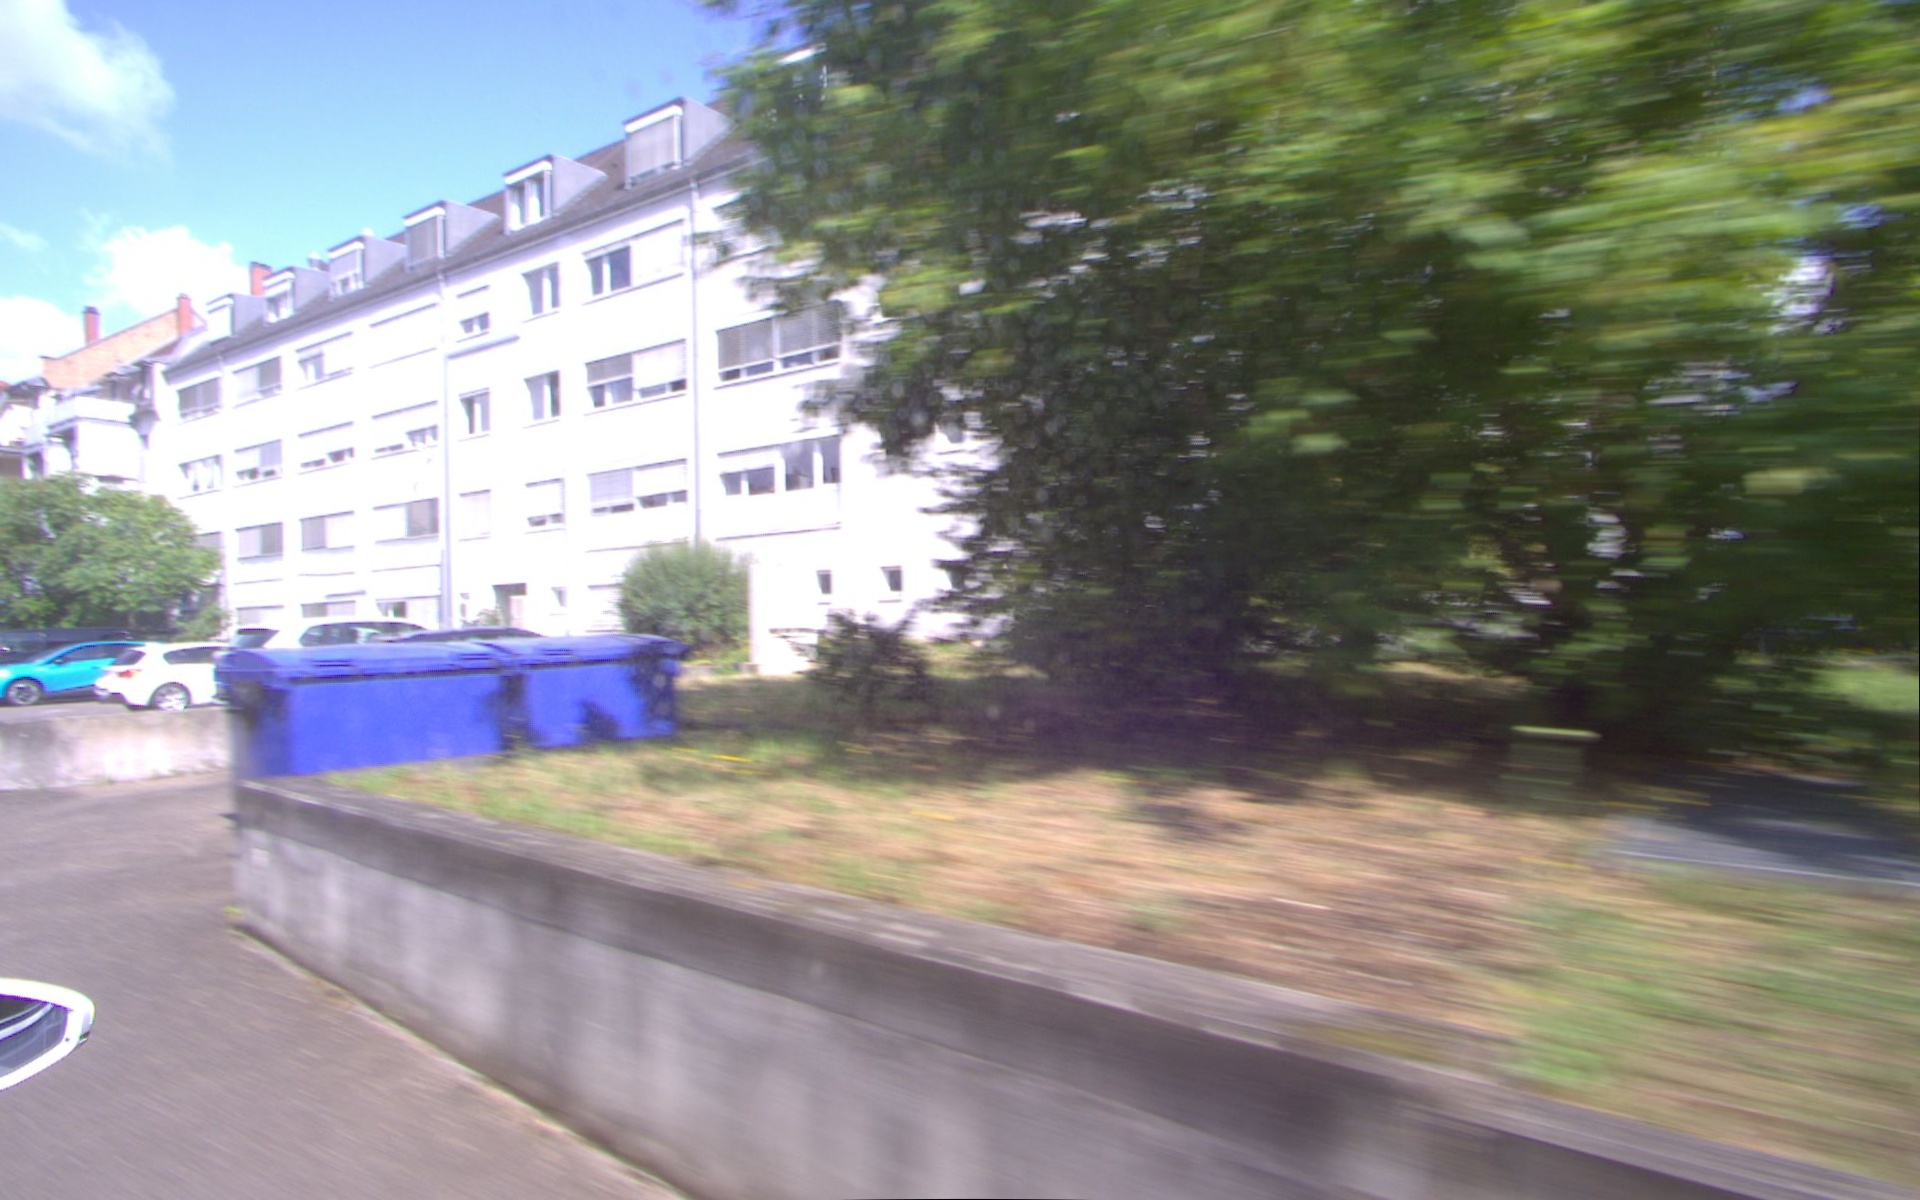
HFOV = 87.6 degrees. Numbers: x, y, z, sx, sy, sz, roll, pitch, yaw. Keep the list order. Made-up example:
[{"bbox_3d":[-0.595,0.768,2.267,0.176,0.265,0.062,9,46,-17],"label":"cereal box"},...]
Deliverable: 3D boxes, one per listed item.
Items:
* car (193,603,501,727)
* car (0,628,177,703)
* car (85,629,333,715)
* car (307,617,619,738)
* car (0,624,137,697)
[{"bbox_3d":[-10.052,0.957,16.705,1.922,1.769,3.978,1,0,33],"label":"car"},{"bbox_3d":[-22.465,1.596,25.276,1.605,1.595,3.977,2,1,33],"label":"car"},{"bbox_3d":[-16.051,1.463,21.611,1.605,1.464,3.977,2,2,33],"label":"car"},{"bbox_3d":[-7.671,1.154,15.855,1.730,1.626,4.106,0,-2,33],"label":"car"},{"bbox_3d":[-24.716,1.579,26.688,1.640,1.840,3.980,0,-2,33],"label":"car"}]
